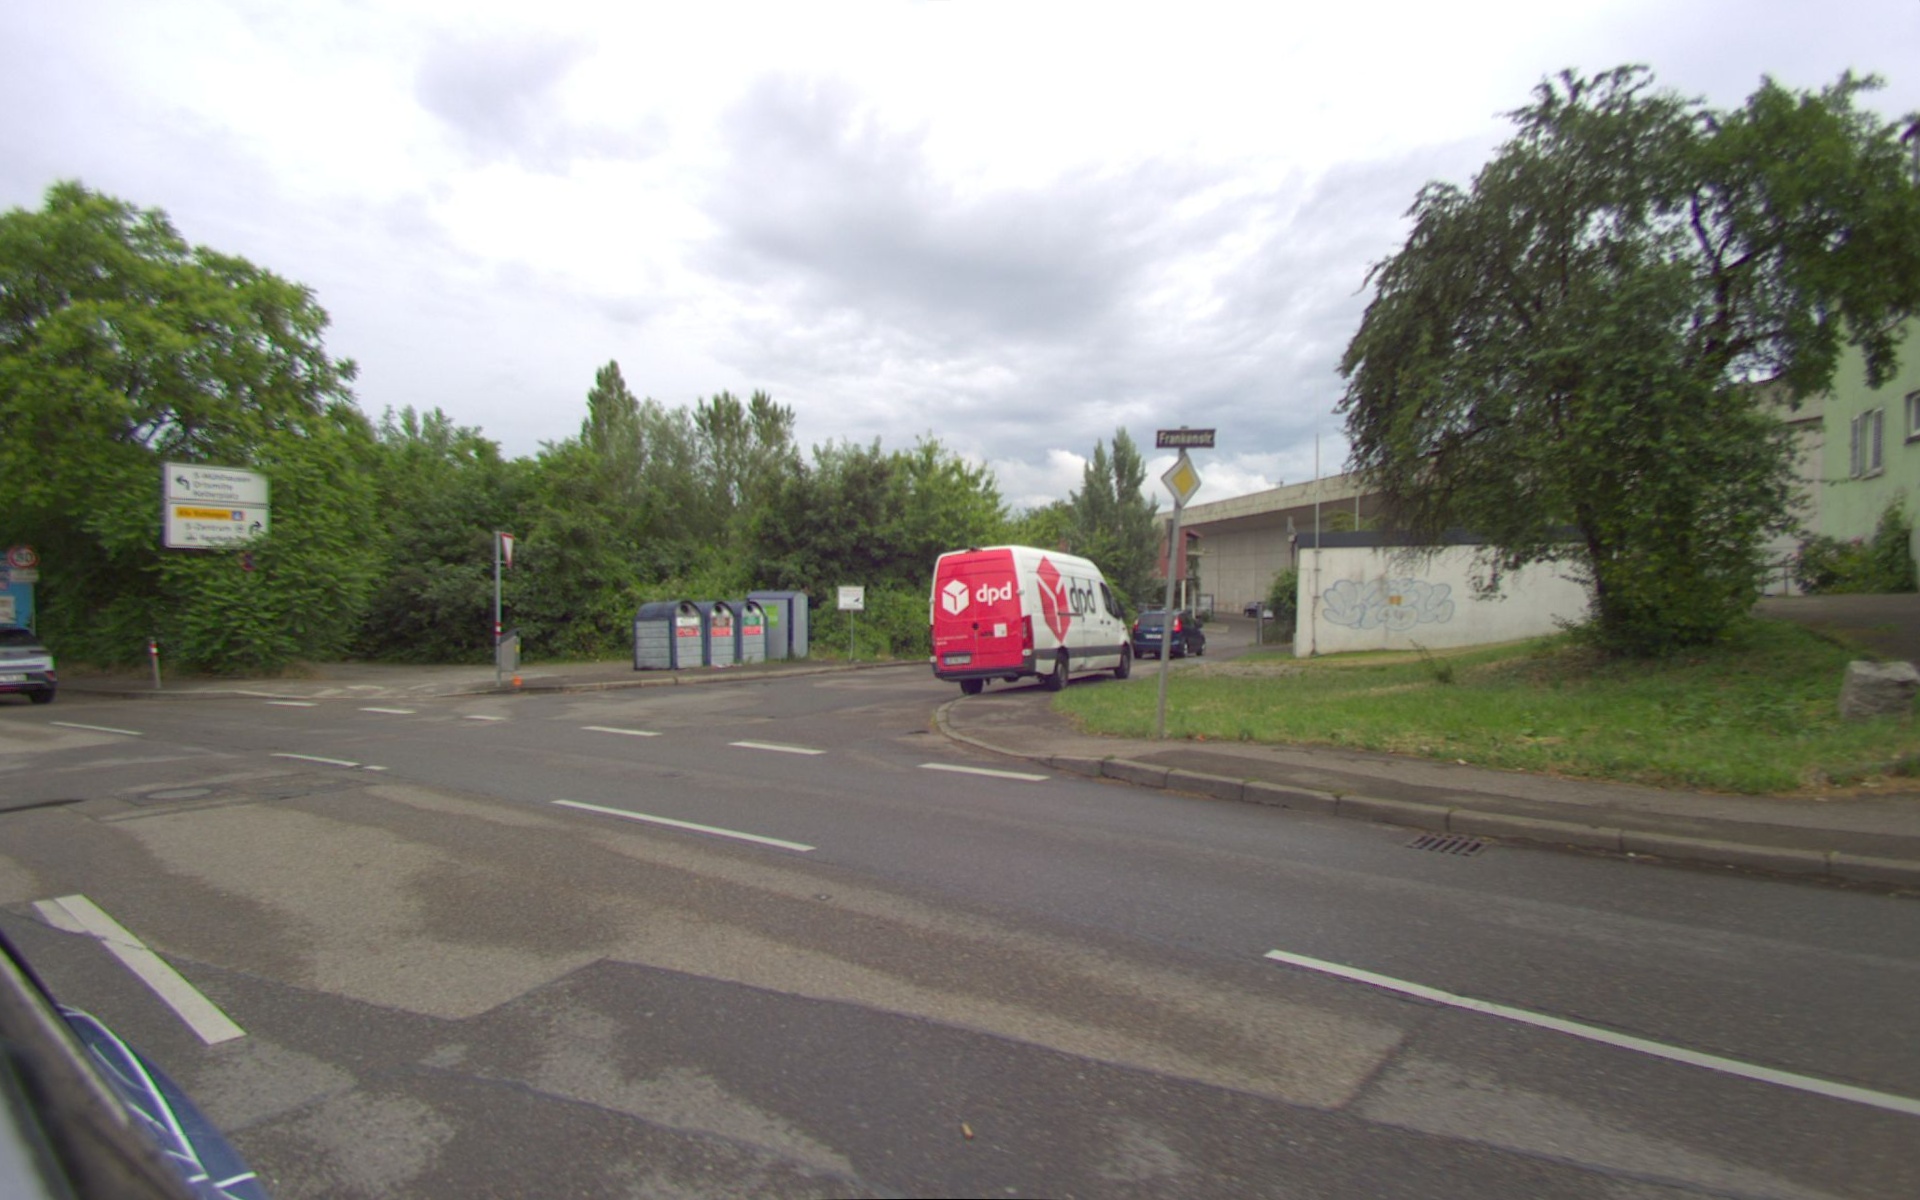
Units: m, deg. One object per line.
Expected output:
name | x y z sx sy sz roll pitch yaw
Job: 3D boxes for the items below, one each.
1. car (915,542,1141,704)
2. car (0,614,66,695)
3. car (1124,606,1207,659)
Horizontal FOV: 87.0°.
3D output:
car | 1.654 0.376 20.302 2.250 2.675 6.766 -1 0 25
car | -19.236 1.041 19.381 3.980 1.473 1.884 -1 -1 27
car | 7.049 1.056 34.390 1.987 1.642 4.221 -1 0 22
